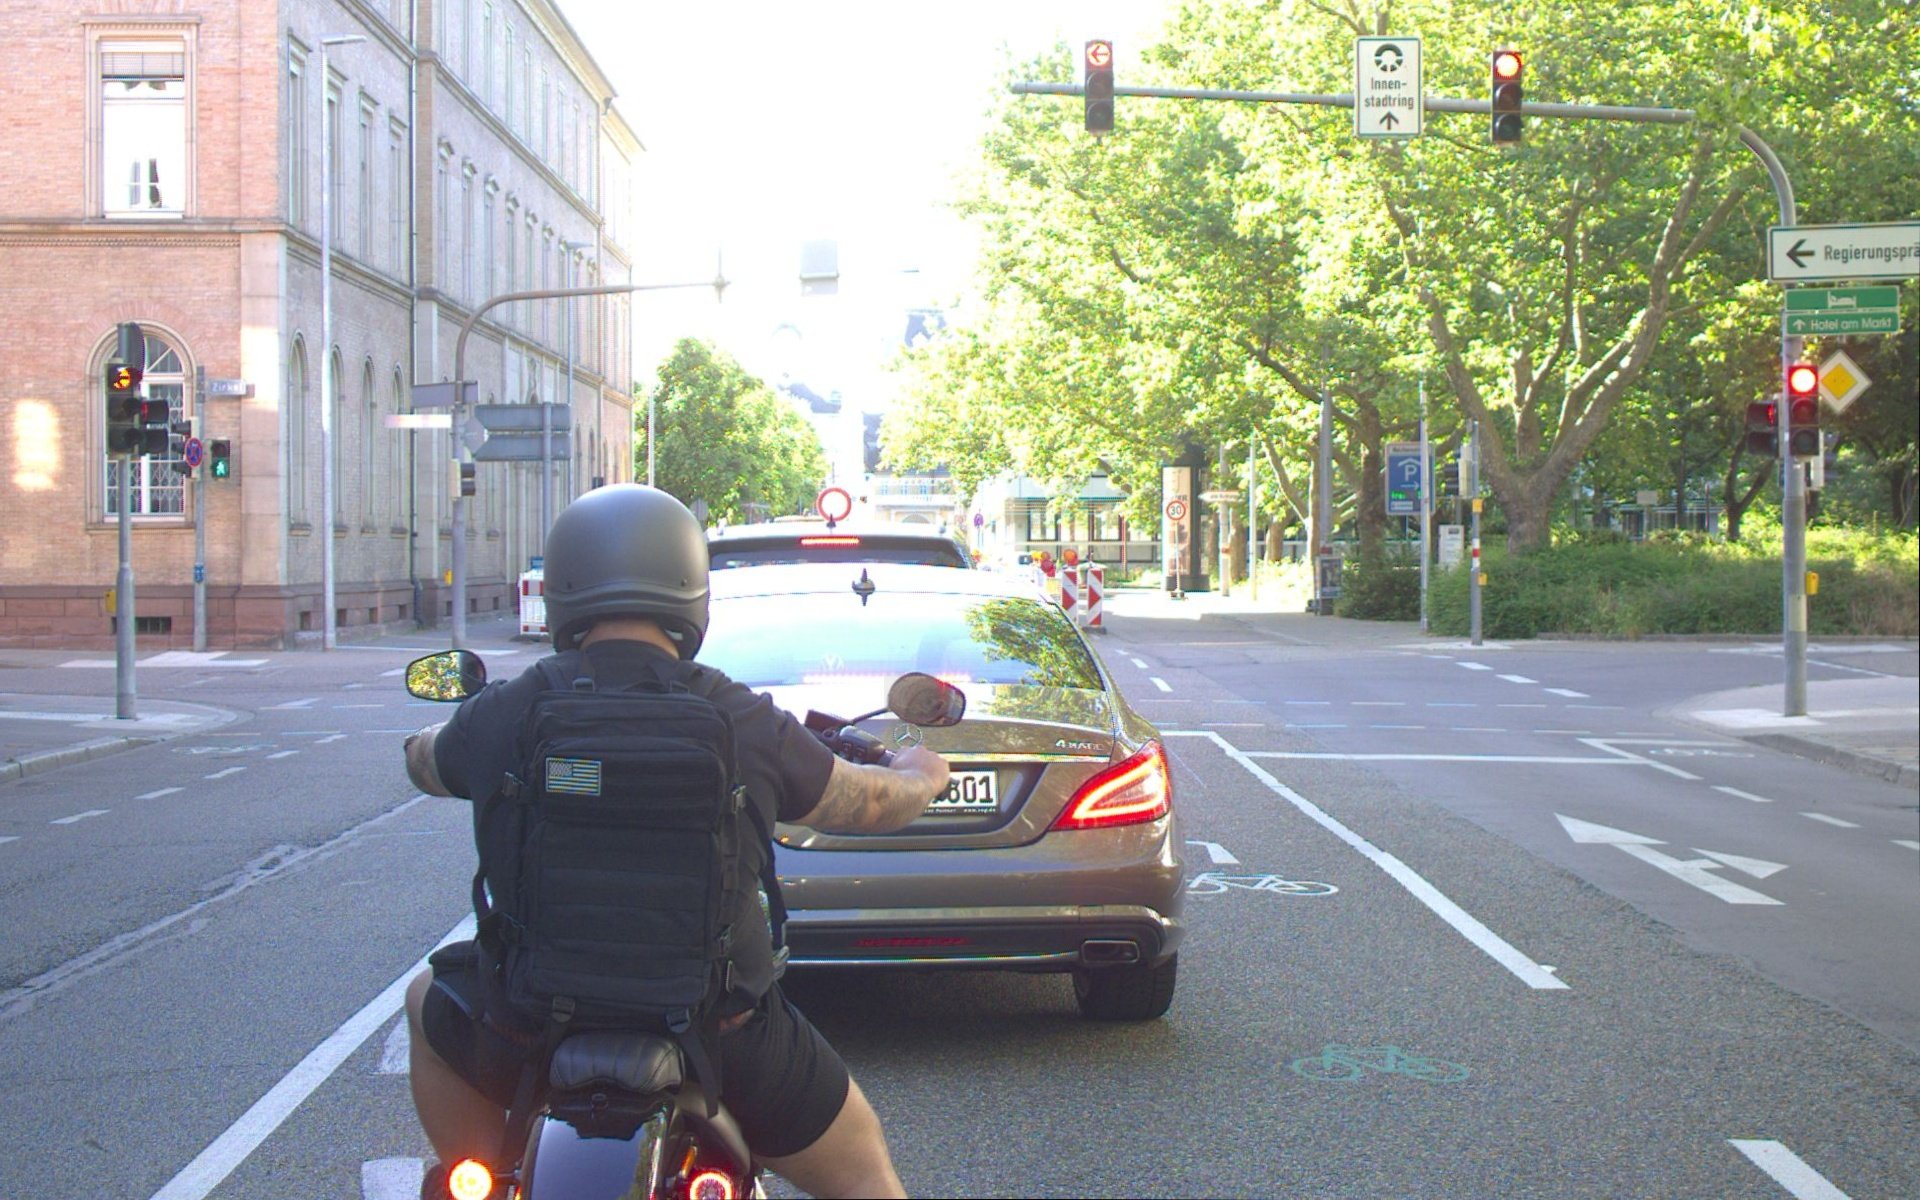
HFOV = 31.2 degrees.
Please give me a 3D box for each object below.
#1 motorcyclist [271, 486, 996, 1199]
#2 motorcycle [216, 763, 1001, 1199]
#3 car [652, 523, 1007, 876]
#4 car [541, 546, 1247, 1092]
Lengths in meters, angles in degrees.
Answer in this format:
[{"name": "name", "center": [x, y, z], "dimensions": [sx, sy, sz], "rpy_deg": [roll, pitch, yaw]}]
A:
[{"name": "motorcyclist", "center": [-0.454, 0.627, 5.414], "dimensions": [0.989, 1.591, 1.404], "rpy_deg": [0, 1, -1]}, {"name": "motorcycle", "center": [-0.457, 0.882, 5.572], "dimensions": [0.989, 1.075, 2.452], "rpy_deg": [0, 1, -1]}, {"name": "car", "center": [-0.640, 0.409, 17.774], "dimensions": [1.612, 1.602, 4.329], "rpy_deg": [0, 1, -1]}, {"name": "car", "center": [-0.433, 0.560, 11.608], "dimensions": [1.945, 1.468, 4.363], "rpy_deg": [0, 1, -7]}]
